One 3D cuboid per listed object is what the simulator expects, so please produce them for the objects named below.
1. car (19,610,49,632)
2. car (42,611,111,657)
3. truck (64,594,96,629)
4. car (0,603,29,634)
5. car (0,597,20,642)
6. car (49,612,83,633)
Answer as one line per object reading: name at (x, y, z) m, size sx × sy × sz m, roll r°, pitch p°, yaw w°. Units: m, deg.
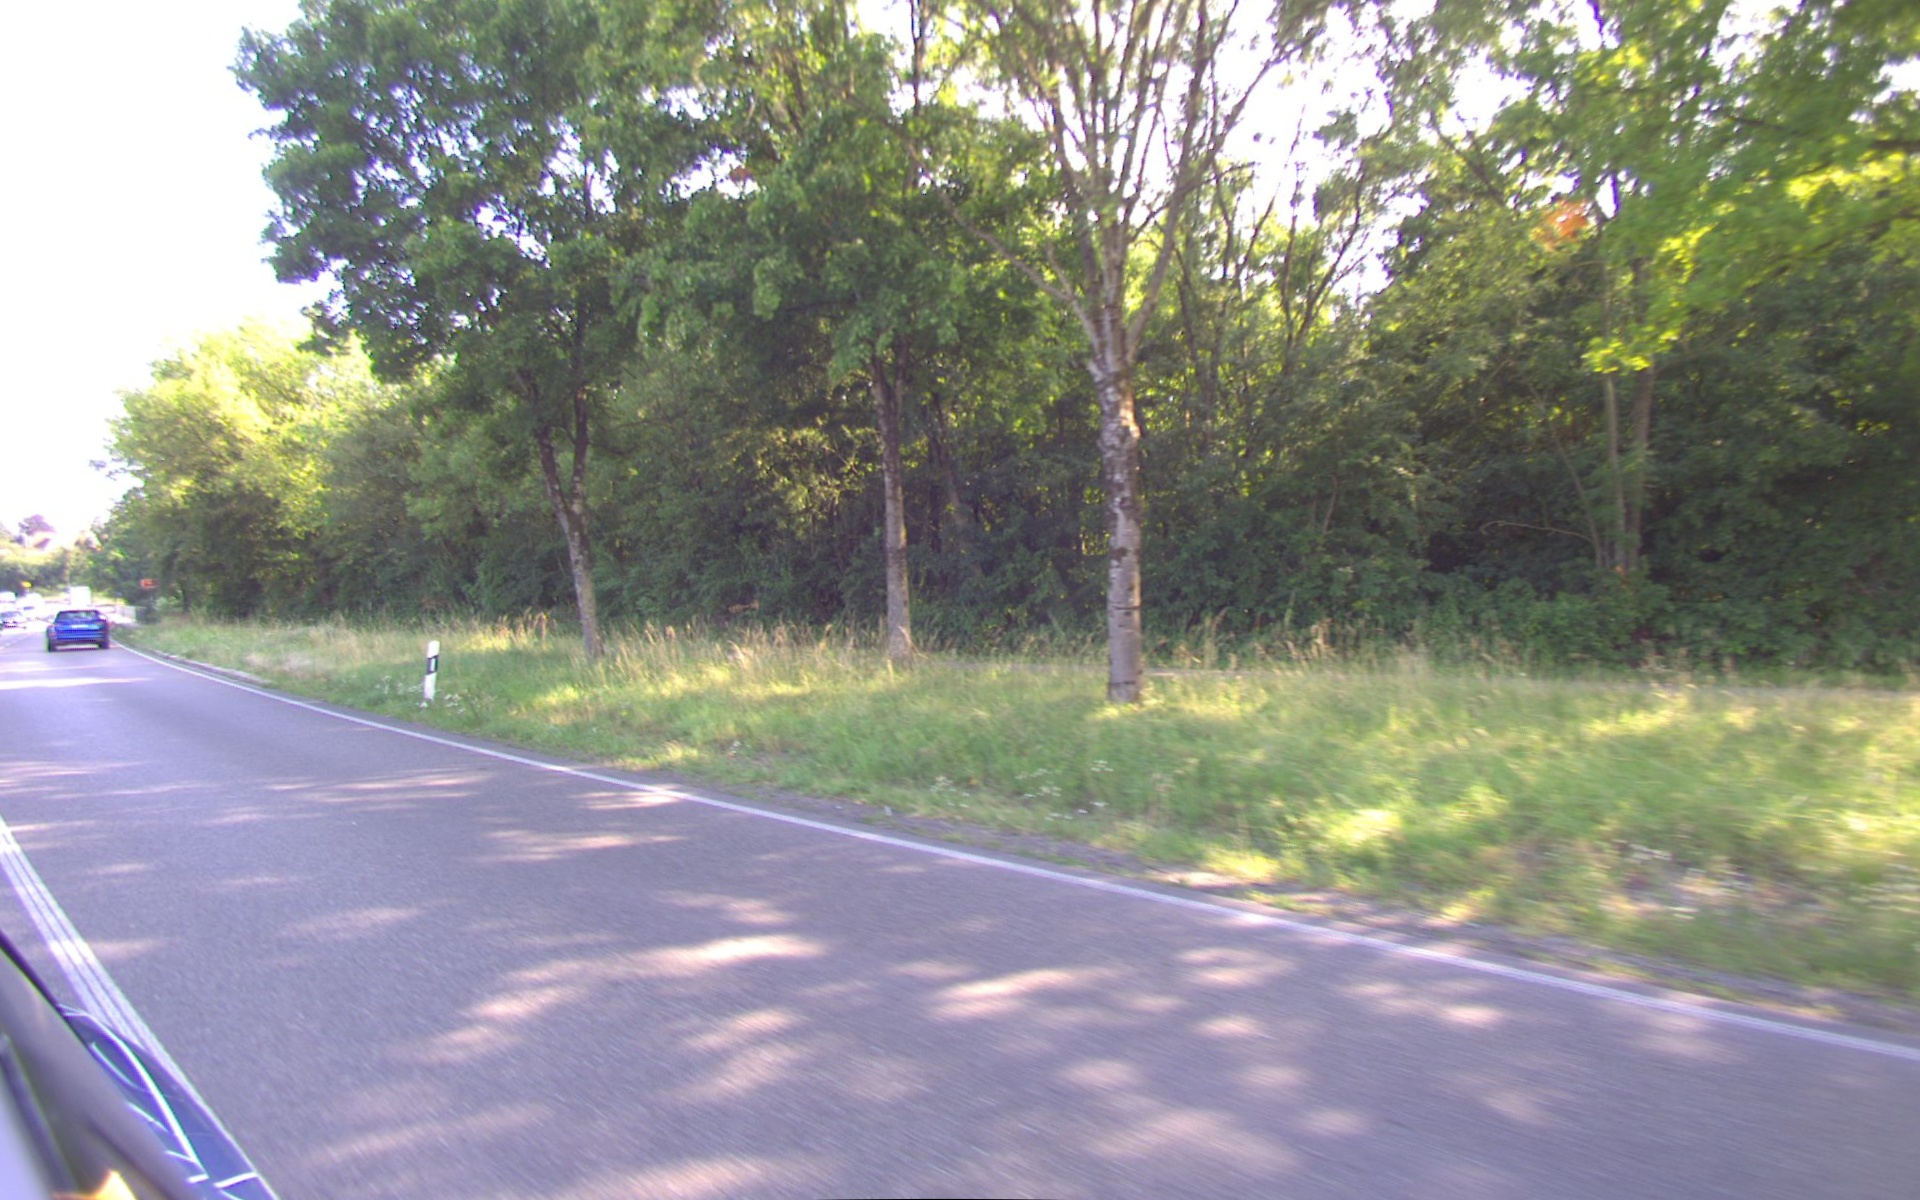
car at (-108.913, 2.419, 119.026) m, size 2.056 × 2.435 × 5.154 m, roll -1°, pitch 0°, yaw -37°
car at (-34.283, 1.260, 39.222) m, size 1.874 × 1.644 × 4.255 m, roll -1°, pitch 0°, yaw -43°
truck at (-135.688, 1.777, 156.002) m, size 3.578 × 5.210 × 10.475 m, roll -1°, pitch 0°, yaw -41°
car at (-77.204, 1.489, 82.038) m, size 2.056 × 2.435 × 5.154 m, roll -1°, pitch 0°, yaw -37°
car at (-54.582, 1.086, 56.873) m, size 5.141 × 2.435 × 2.061 m, roll -1°, pitch 0°, yaw 42°
car at (-71.456, 1.780, 80.911) m, size 1.866 × 1.644 × 4.258 m, roll -1°, pitch 0°, yaw -40°
